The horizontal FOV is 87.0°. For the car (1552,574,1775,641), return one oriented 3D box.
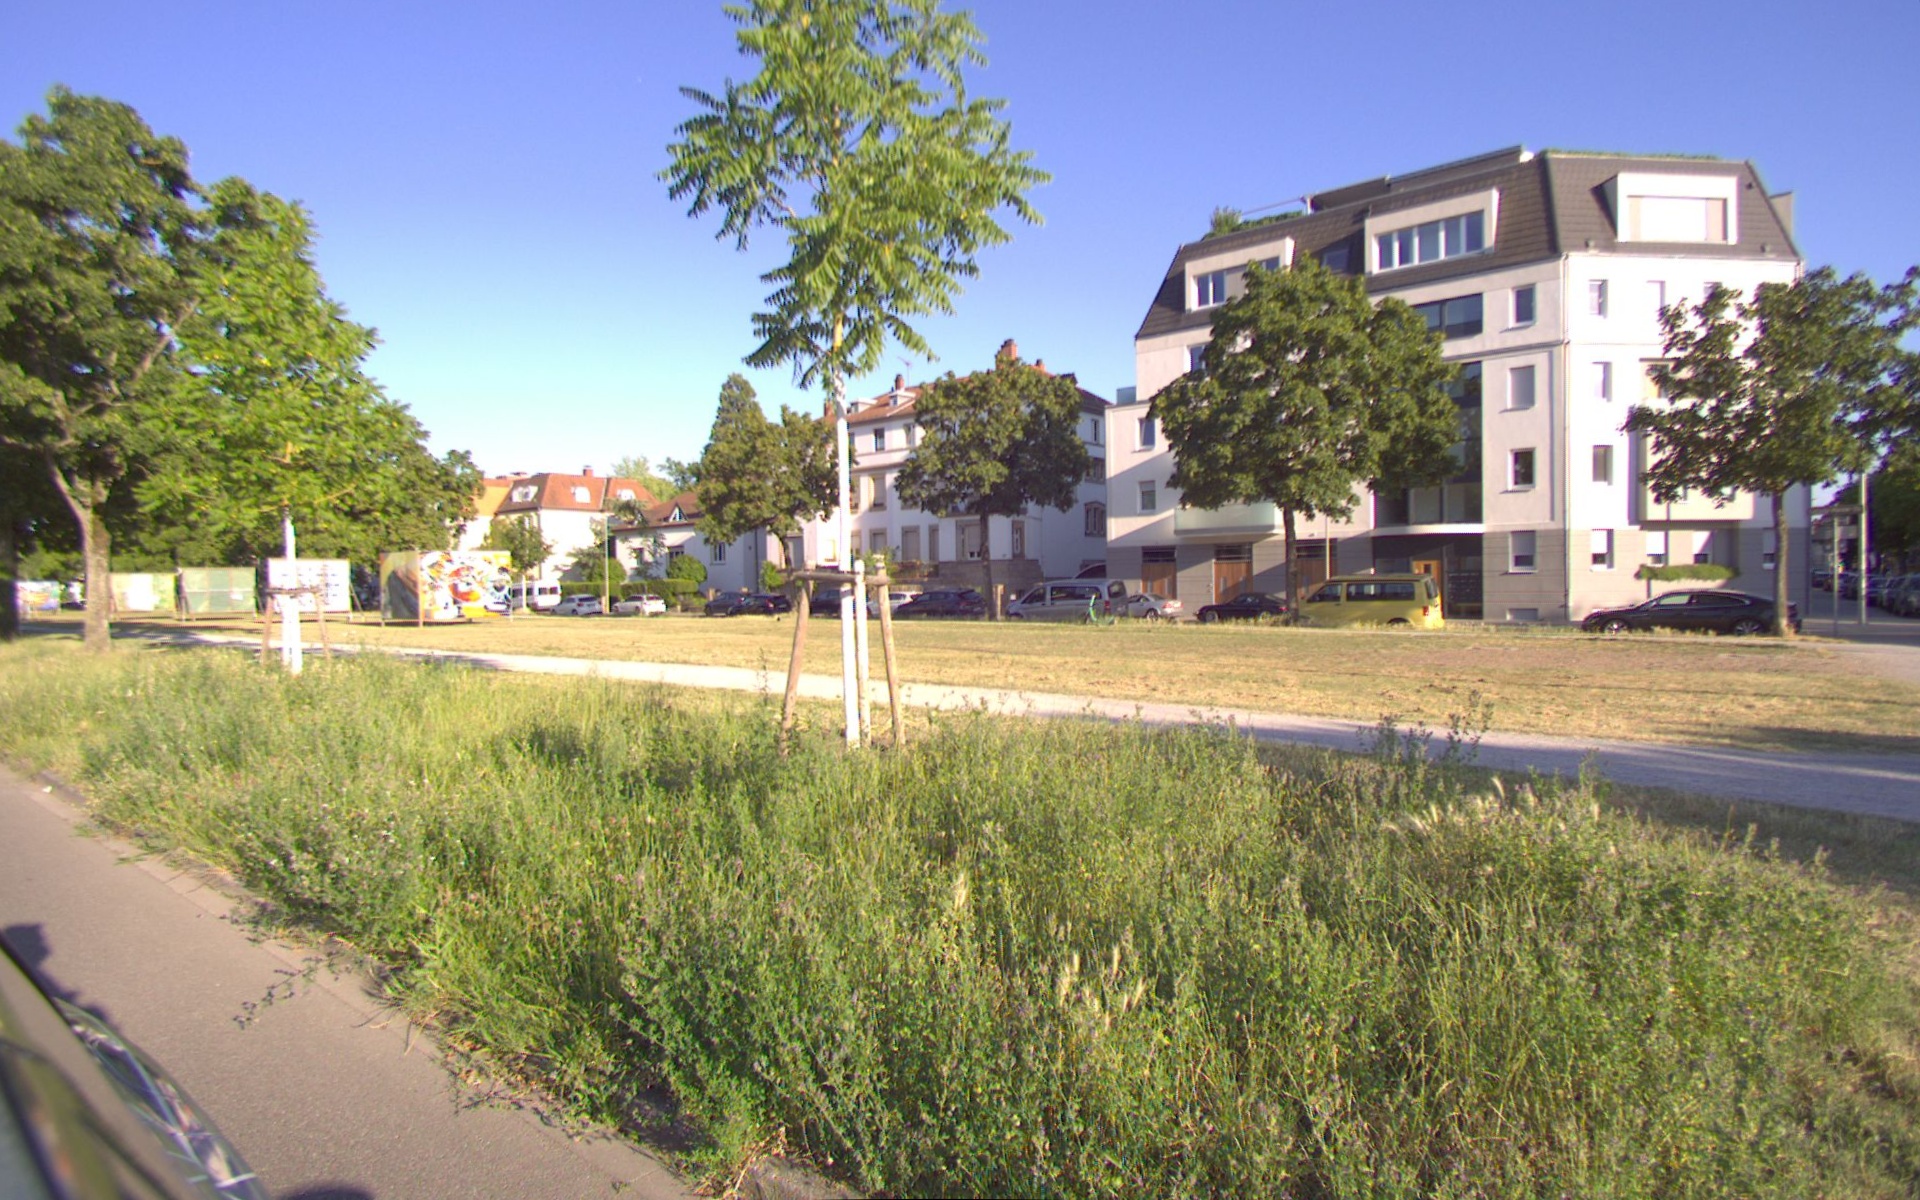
[{"bbox_3d":[19.019,0.181,27.488,4.836,1.681,1.765,0,1,40],"label":"car"}]

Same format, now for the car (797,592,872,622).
[{"bbox_3d":[-7.055,0.388,56.826,4.159,1.592,1.802,0,1,40],"label":"car"}]

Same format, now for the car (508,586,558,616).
[{"bbox_3d":[-32.887,0.101,77.950,4.130,2.230,1.972,0,1,42],"label":"car"}]

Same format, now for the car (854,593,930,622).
[{"bbox_3d":[-3.649,0.393,53.986,4.004,1.457,1.621,0,0,39],"label":"car"}]

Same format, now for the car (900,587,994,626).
[{"bbox_3d":[-0.594,0.279,43.691,3.833,1.592,1.802,0,1,40],"label":"car"}]

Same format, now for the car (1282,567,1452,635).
[{"bbox_3d":[12.993,0.016,32.464,4.689,2.029,2.007,0,0,39],"label":"car"}]

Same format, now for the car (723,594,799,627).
[{"bbox_3d":[-10.254,0.526,51.955,3.833,1.592,1.802,0,1,40],"label":"car"}]

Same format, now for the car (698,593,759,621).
[{"bbox_3d":[-14.389,0.410,62.805,3.998,1.674,1.621,0,1,41],"label":"car"}]

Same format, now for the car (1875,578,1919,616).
[{"bbox_3d":[41.652,-0.153,44.348,1.887,1.603,4.040,0,1,36],"label":"car"}]

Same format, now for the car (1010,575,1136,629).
[{"bbox_3d":[4.414,0.067,39.899,4.570,2.029,2.052,0,0,39],"label":"car"}]

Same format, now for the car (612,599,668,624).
[{"bbox_3d":[-21.881,0.764,69.232,3.964,1.592,1.802,0,1,40],"label":"car"}]

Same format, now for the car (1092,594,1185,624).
[{"bbox_3d":[7.767,0.396,44.192,3.723,1.250,1.606,0,0,36],"label":"car"}]

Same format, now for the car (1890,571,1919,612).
[{"bbox_3d":[39.181,-0.374,40.924,1.887,1.603,4.040,0,1,36],"label":"car"}]

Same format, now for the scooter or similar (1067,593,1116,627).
[{"bbox_3d":[4.392,0.335,33.932,1.647,1.124,0.447,0,1,40],"label":"scooter or similar"}]

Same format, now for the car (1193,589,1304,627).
[{"bbox_3d":[11.689,0.307,41.146,3.997,1.474,1.655,0,1,40],"label":"car"}]

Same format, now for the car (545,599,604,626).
[{"bbox_3d":[-24.254,0.787,63.602,3.833,1.592,1.802,0,1,40],"label":"car"}]

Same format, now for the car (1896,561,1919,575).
[{"bbox_3d":[112.212,-3.778,118.347,3.854,1.493,1.781,-1,1,40],"label":"car"}]

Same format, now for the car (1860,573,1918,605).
[{"bbox_3d":[43.990,-0.524,47.989,1.762,1.458,4.088,0,1,39],"label":"car"}]

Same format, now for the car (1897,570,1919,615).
[{"bbox_3d":[35.611,-0.302,36.750,1.887,1.603,4.040,0,1,36],"label":"car"}]
